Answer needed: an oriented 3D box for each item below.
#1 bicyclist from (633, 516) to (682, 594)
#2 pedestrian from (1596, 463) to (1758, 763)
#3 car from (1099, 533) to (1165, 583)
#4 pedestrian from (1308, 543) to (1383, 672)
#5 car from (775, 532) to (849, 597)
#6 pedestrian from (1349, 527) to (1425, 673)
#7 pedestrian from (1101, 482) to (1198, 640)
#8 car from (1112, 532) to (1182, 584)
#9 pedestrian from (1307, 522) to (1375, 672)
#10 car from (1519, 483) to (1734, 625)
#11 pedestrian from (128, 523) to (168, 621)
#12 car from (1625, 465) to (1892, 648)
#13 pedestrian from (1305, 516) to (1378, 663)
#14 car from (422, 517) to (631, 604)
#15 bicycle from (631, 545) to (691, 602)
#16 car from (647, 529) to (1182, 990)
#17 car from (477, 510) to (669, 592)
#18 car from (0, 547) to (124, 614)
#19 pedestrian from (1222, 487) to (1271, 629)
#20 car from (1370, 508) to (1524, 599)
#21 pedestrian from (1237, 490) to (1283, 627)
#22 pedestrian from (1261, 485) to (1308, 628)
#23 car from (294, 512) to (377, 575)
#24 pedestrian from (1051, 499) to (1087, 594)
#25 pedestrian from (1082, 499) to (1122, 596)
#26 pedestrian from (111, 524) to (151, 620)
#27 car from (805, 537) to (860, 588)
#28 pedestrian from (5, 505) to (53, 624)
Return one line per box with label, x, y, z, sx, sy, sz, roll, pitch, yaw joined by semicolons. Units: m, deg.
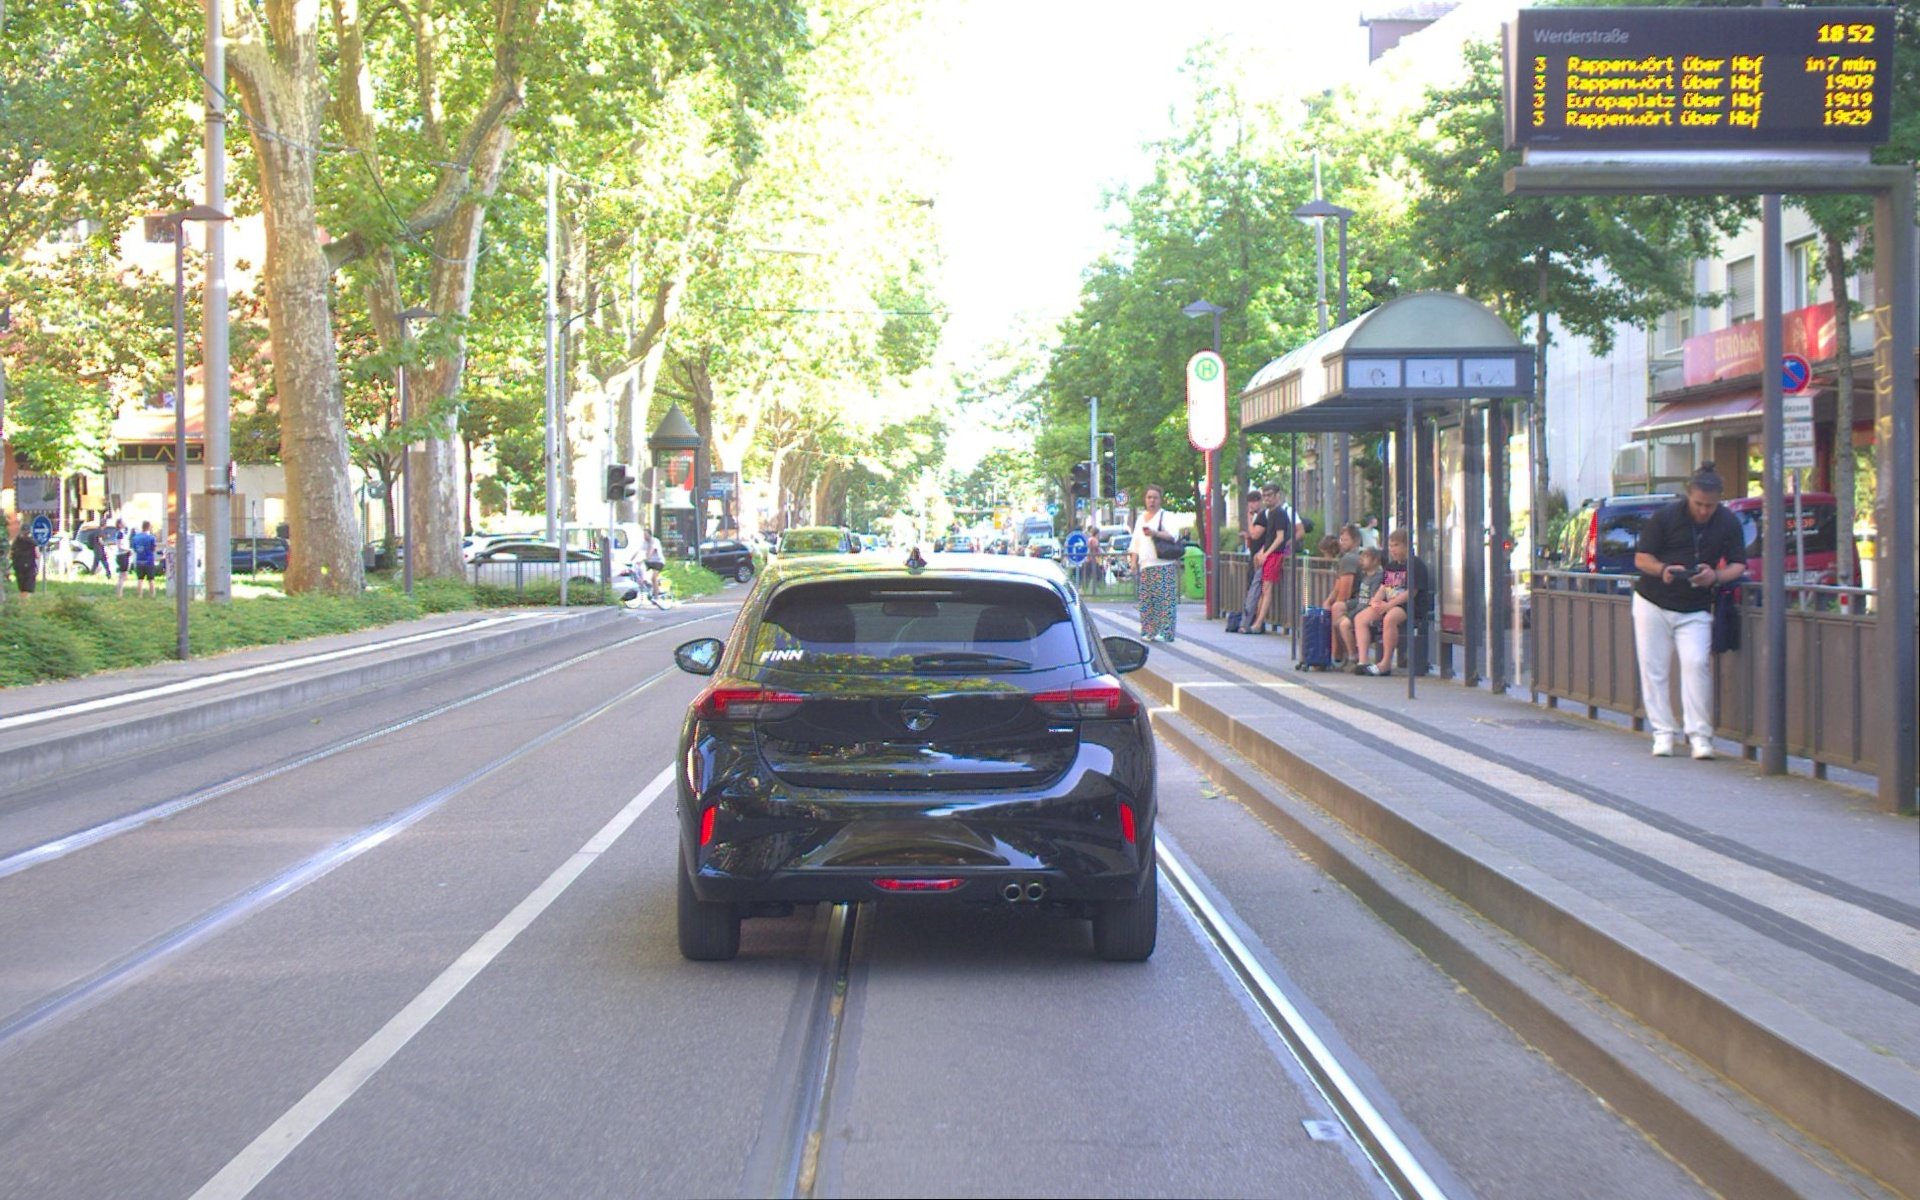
bicyclist;-6.690;-0.992;76.069;0.941;1.697;1.153;1;1;3
pedestrian;3.886;0.057;18.673;0.630;1.571;0.871;2;1;-1
car;5.789;-1.421;116.211;1.993;1.627;4.000;1;1;-1
pedestrian;3.320;0.061;29.632;0.534;1.096;0.551;1;1;-5
car;-3.612;-0.864;83.858;1.745;1.539;4.000;1;1;-2
pedestrian;3.612;-0.004;29.111;0.534;1.226;0.510;1;1;-5
pedestrian;2.074;-0.426;37.596;0.751;1.703;0.762;1;1;34
car;5.969;-1.344;110.108;1.993;1.627;4.000;1;1;-1
pedestrian;3.342;-0.029;30.165;0.502;1.300;0.429;1;1;-5
car;8.822;-0.607;45.834;1.993;1.791;4.000;1;1;-1
pedestrian;-16.481;-0.571;69.768;0.672;1.943;0.498;2;1;-4
car;8.967;-0.489;38.953;1.993;1.946;4.000;1;1;-1
pedestrian;3.407;-0.097;30.716;0.534;1.300;0.551;1;1;-5
car;-8.759;-0.804;69.523;4.113;1.695;1.884;0;1;-7
bicycle;-6.669;-0.605;76.862;0.955;1.236;2.977;1;1;2
car;-0.236;0.504;13.250;1.759;1.503;3.683;-1;1;-3
car;-9.050;-1.150;80.303;4.383;1.845;2.000;0;1;-7
car;-27.845;-0.602;104.741;4.250;2.007;2.000;1;1;0
pedestrian;3.477;-0.510;41.754;0.531;1.703;0.752;1;1;2
car;8.215;-0.786;58.321;1.993;1.481;4.000;1;1;-1
pedestrian;3.776;-0.520;43.259;0.531;1.703;0.596;1;1;2
pedestrian;4.010;-0.536;42.517;0.531;1.756;0.661;1;1;2
car;-20.465;-1.853;112.800;1.993;2.007;4.000;1;1;-1
pedestrian;2.324;-1.143;73.193;0.675;2.006;0.701;2;1;6
pedestrian;3.006;-1.114;72.705;0.675;2.006;0.701;2;2;11
pedestrian;-17.025;-0.580;70.609;0.672;1.943;0.498;2;1;-4
car;-4.306;-1.266;115.977;1.785;1.687;4.000;1;1;-2
pedestrian;-15.324;-0.592;56.573;0.496;1.943;0.674;1;1;12
